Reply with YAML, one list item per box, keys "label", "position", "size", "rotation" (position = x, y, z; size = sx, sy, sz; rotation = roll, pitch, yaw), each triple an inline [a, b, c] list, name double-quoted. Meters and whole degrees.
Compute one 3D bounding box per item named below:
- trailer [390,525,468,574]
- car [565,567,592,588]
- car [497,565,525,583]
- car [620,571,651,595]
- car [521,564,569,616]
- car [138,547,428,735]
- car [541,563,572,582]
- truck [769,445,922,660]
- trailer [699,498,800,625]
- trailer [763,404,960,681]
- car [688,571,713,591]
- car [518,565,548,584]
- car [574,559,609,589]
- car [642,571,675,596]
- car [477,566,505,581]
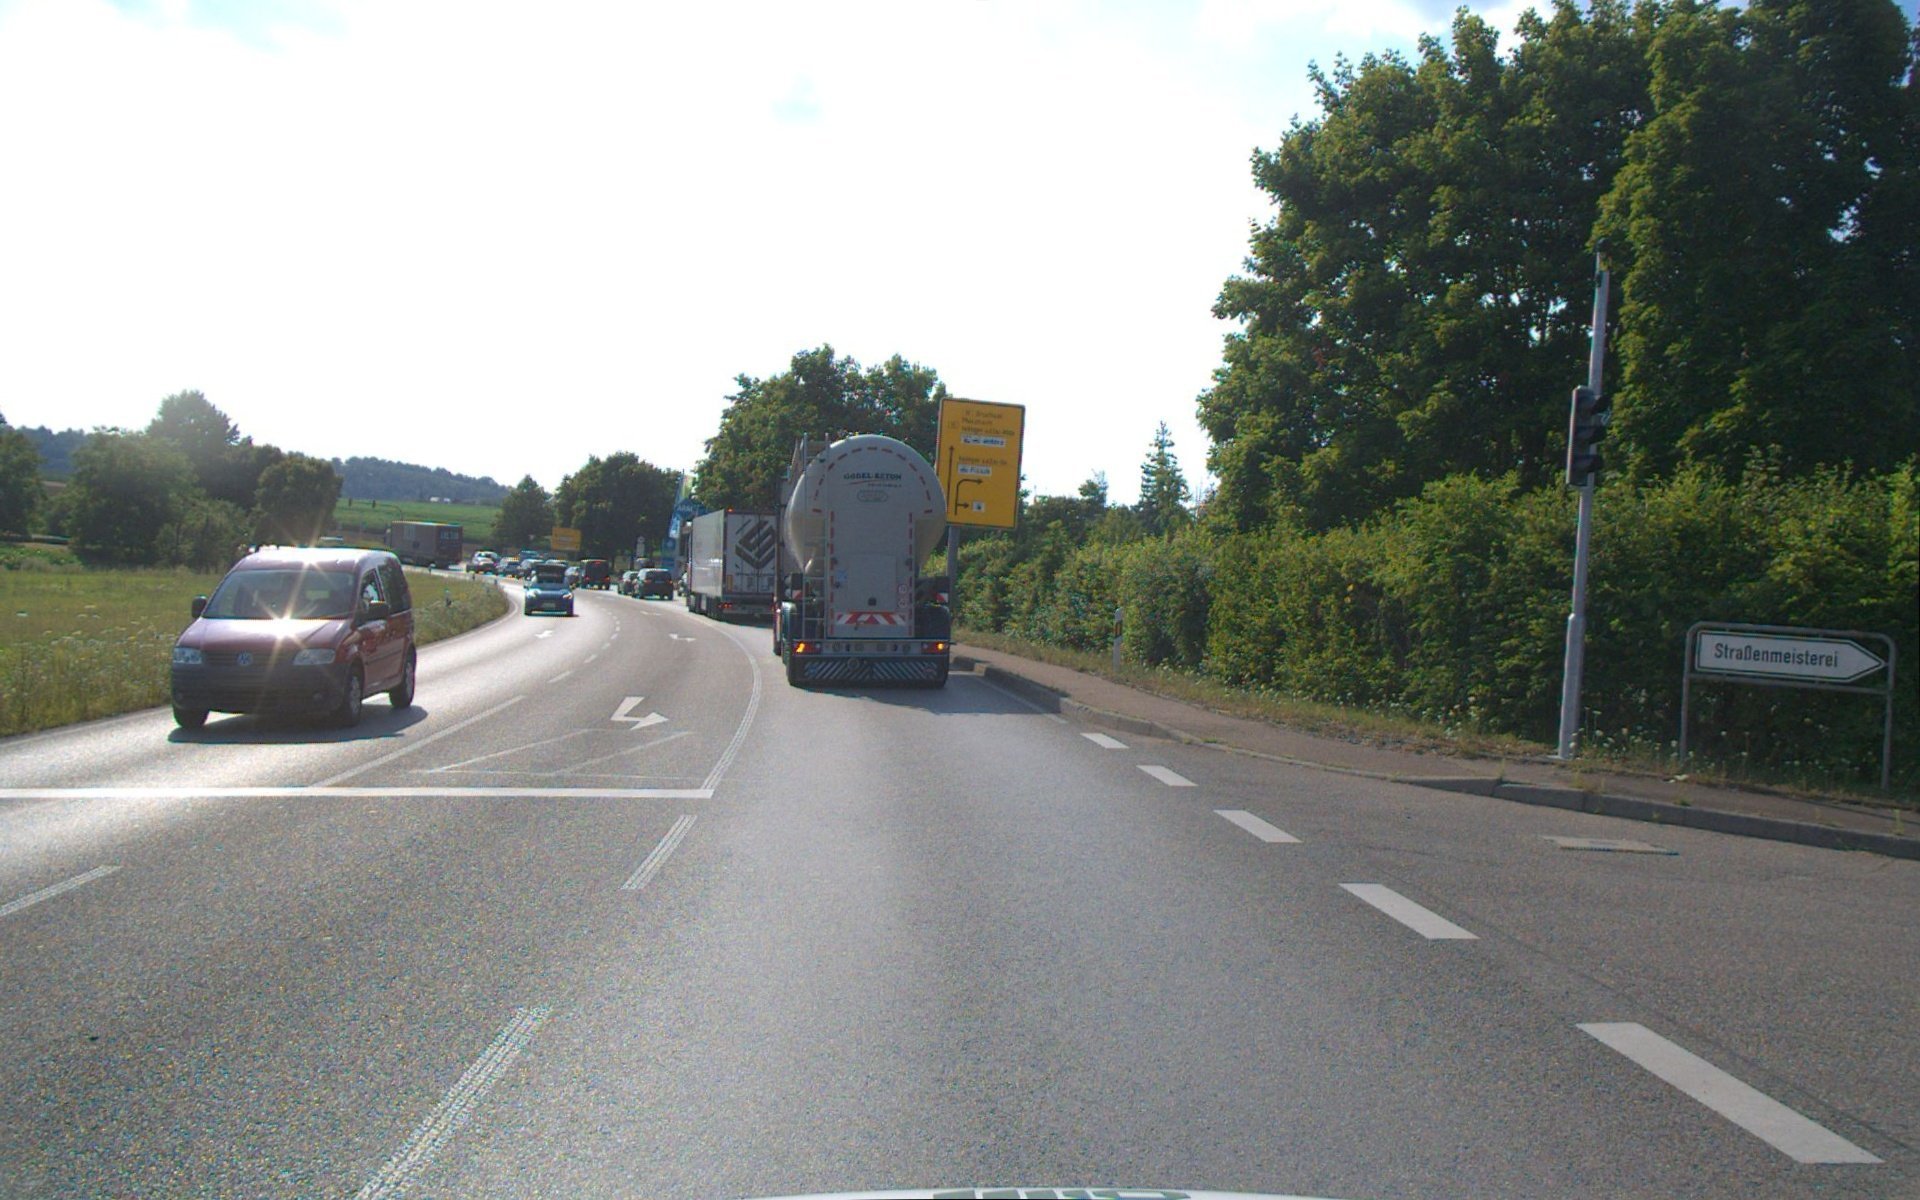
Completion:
- label: "trailer"
  position: [-52.660, -5.044, 163.637]
  size: [3.346, 4.426, 14.125]
  rotation: [2, 1, -34]
- label: "car"
  position: [-28.364, -1.654, 122.960]
  size: [1.396, 1.458, 3.122]
  rotation: [1, -1, -25]
- label: "car"
  position: [-38.663, -2.240, 142.426]
  size: [1.563, 1.364, 3.393]
  rotation: [2, 1, -29]
- label: "car"
  position: [-20.113, -1.066, 102.370]
  size: [1.555, 1.364, 3.410]
  rotation: [2, 1, -17]
- label: "car"
  position: [-15.801, -0.415, 63.022]
  size: [1.695, 1.915, 4.320]
  rotation: [0, 1, -14]
- label: "car"
  position: [-7.229, 0.362, 18.153]
  size: [1.844, 1.807, 4.315]
  rotation: [0, 1, -7]
- label: "car"
  position: [-31.583, -2.178, 129.376]
  size: [1.563, 1.364, 3.393]
  rotation: [2, 1, -29]
- label: "truck"
  position: [-2.412, -0.936, 33.880]
  size: [2.854, 4.076, 4.054]
  rotation: [1, 0, -6]
- label: "trailer"
  position: [-8.567, -1.502, 65.831]
  size: [2.902, 4.390, 14.137]
  rotation: [2, 1, -11]
- label: "trailer"
  position: [-1.965, -0.912, 29.675]
  size: [2.853, 4.076, 9.918]
  rotation: [1, 1, -6]
- label: "car"
  position: [-18.619, -1.389, 118.492]
  size: [1.644, 1.364, 3.417]
  rotation: [2, 1, -11]
- label: "car"
  position: [-34.835, -2.090, 134.933]
  size: [1.563, 1.364, 3.393]
  rotation: [2, 1, -29]
- label: "car"
  position: [-25.805, -1.849, 115.826]
  size: [1.836, 2.048, 3.695]
  rotation: [1, 1, -22]
- label: "car"
  position: [-17.249, -0.953, 94.431]
  size: [1.554, 1.364, 3.412]
  rotation: [2, 1, -15]
- label: "car"
  position: [-42.089, -2.379, 148.355]
  size: [1.750, 1.226, 3.393]
  rotation: [2, 1, -29]
